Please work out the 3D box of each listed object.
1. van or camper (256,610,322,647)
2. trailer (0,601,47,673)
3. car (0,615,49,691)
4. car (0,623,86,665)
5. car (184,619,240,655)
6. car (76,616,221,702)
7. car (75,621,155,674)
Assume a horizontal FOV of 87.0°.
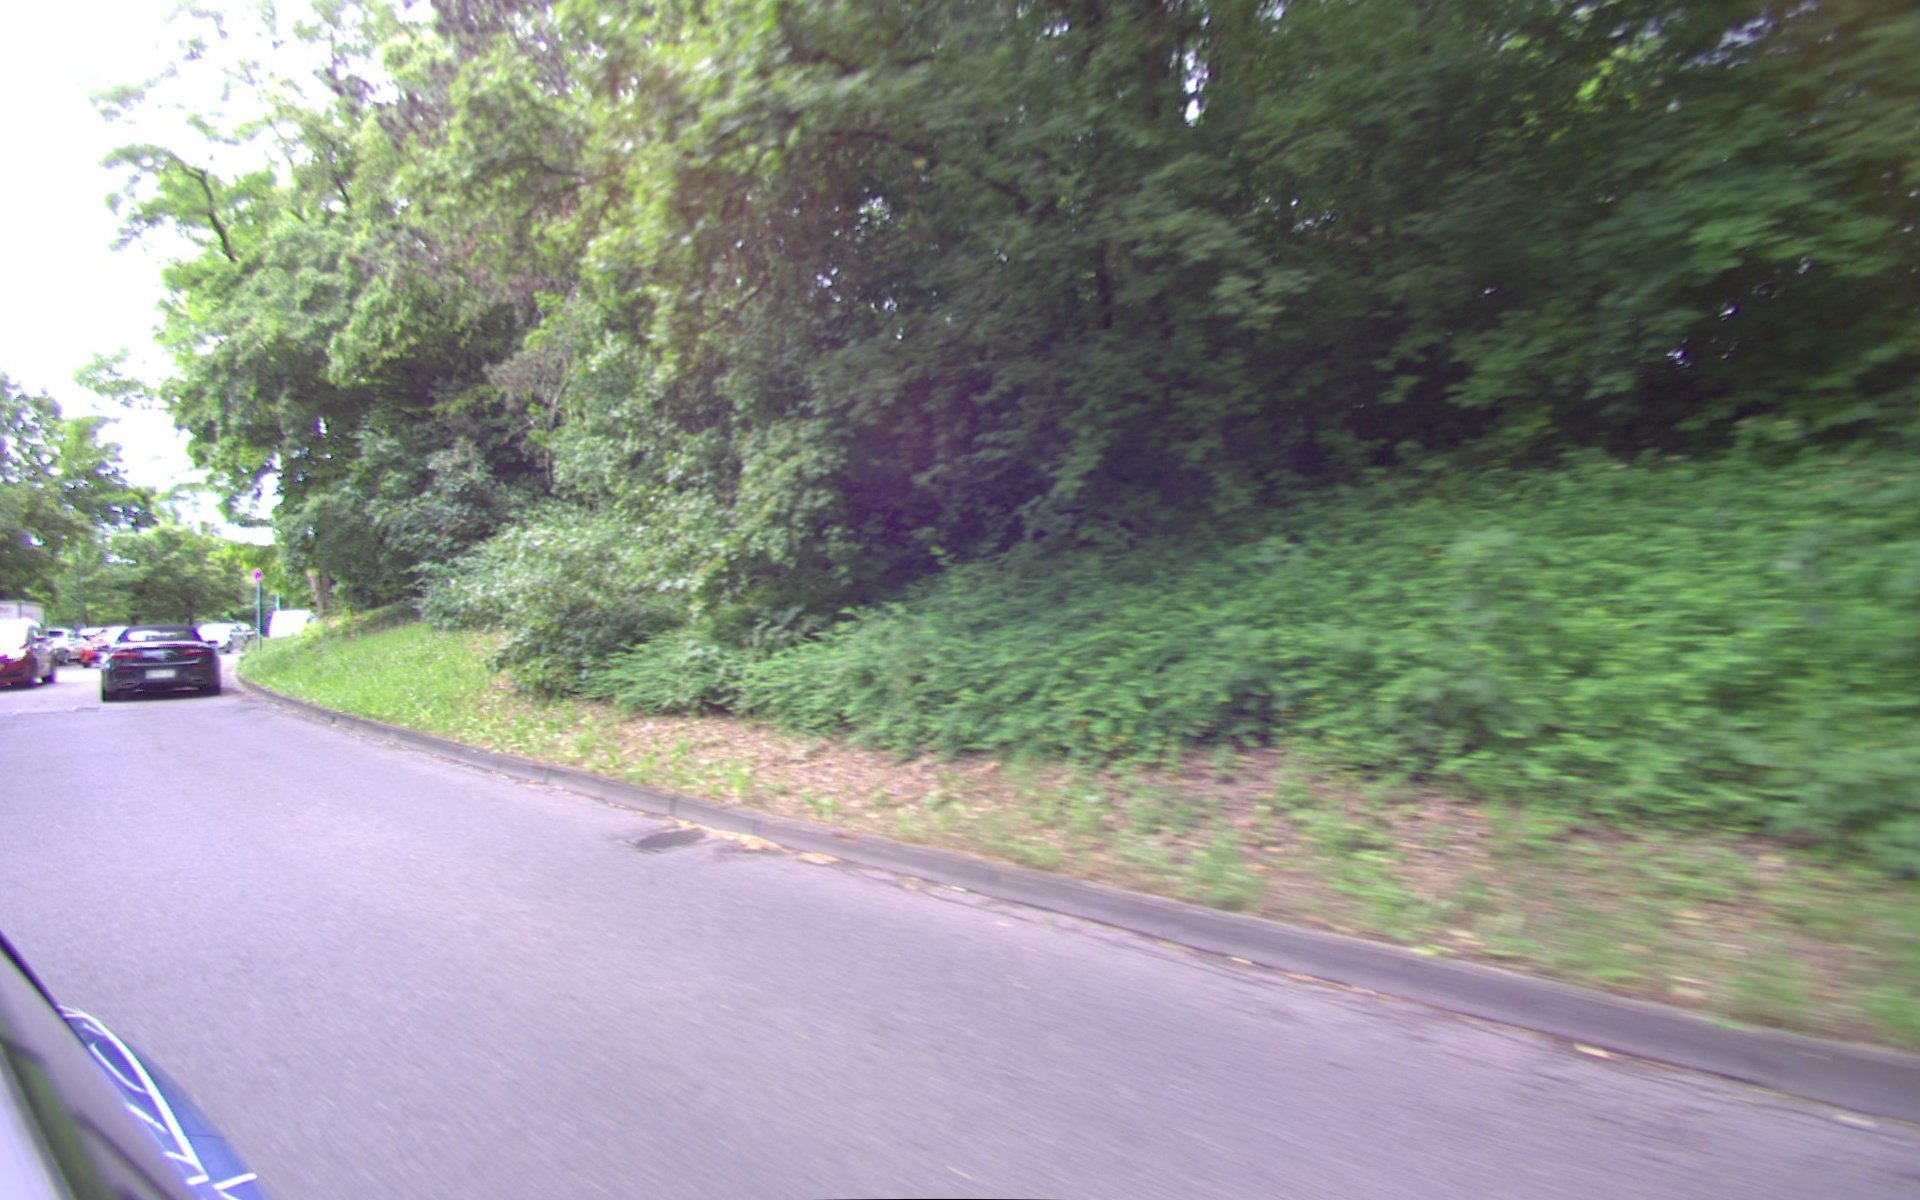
[{"bbox_3d":[-49.962,2.045,75.493,2.132,2.555,6.048,-2,0,-14],"label":"van or camper"},{"bbox_3d":[-33.990,1.294,35.762,1.736,2.445,3.899,0,-1,-30],"label":"trailer"},{"bbox_3d":[-23.047,1.254,23.944,1.969,1.640,4.634,-2,0,-40],"label":"car"},{"bbox_3d":[-36.715,1.722,40.487,1.717,1.536,4.650,-1,-1,-29],"label":"car"},{"bbox_3d":[-40.247,1.971,54.556,1.891,1.694,4.013,-1,1,-29],"label":"car"},{"bbox_3d":[-16.422,1.089,20.400,1.771,1.399,4.494,-4,3,-45],"label":"car"},{"bbox_3d":[-30.979,1.692,37.209,1.837,1.459,4.188,1,3,-35],"label":"car"}]
